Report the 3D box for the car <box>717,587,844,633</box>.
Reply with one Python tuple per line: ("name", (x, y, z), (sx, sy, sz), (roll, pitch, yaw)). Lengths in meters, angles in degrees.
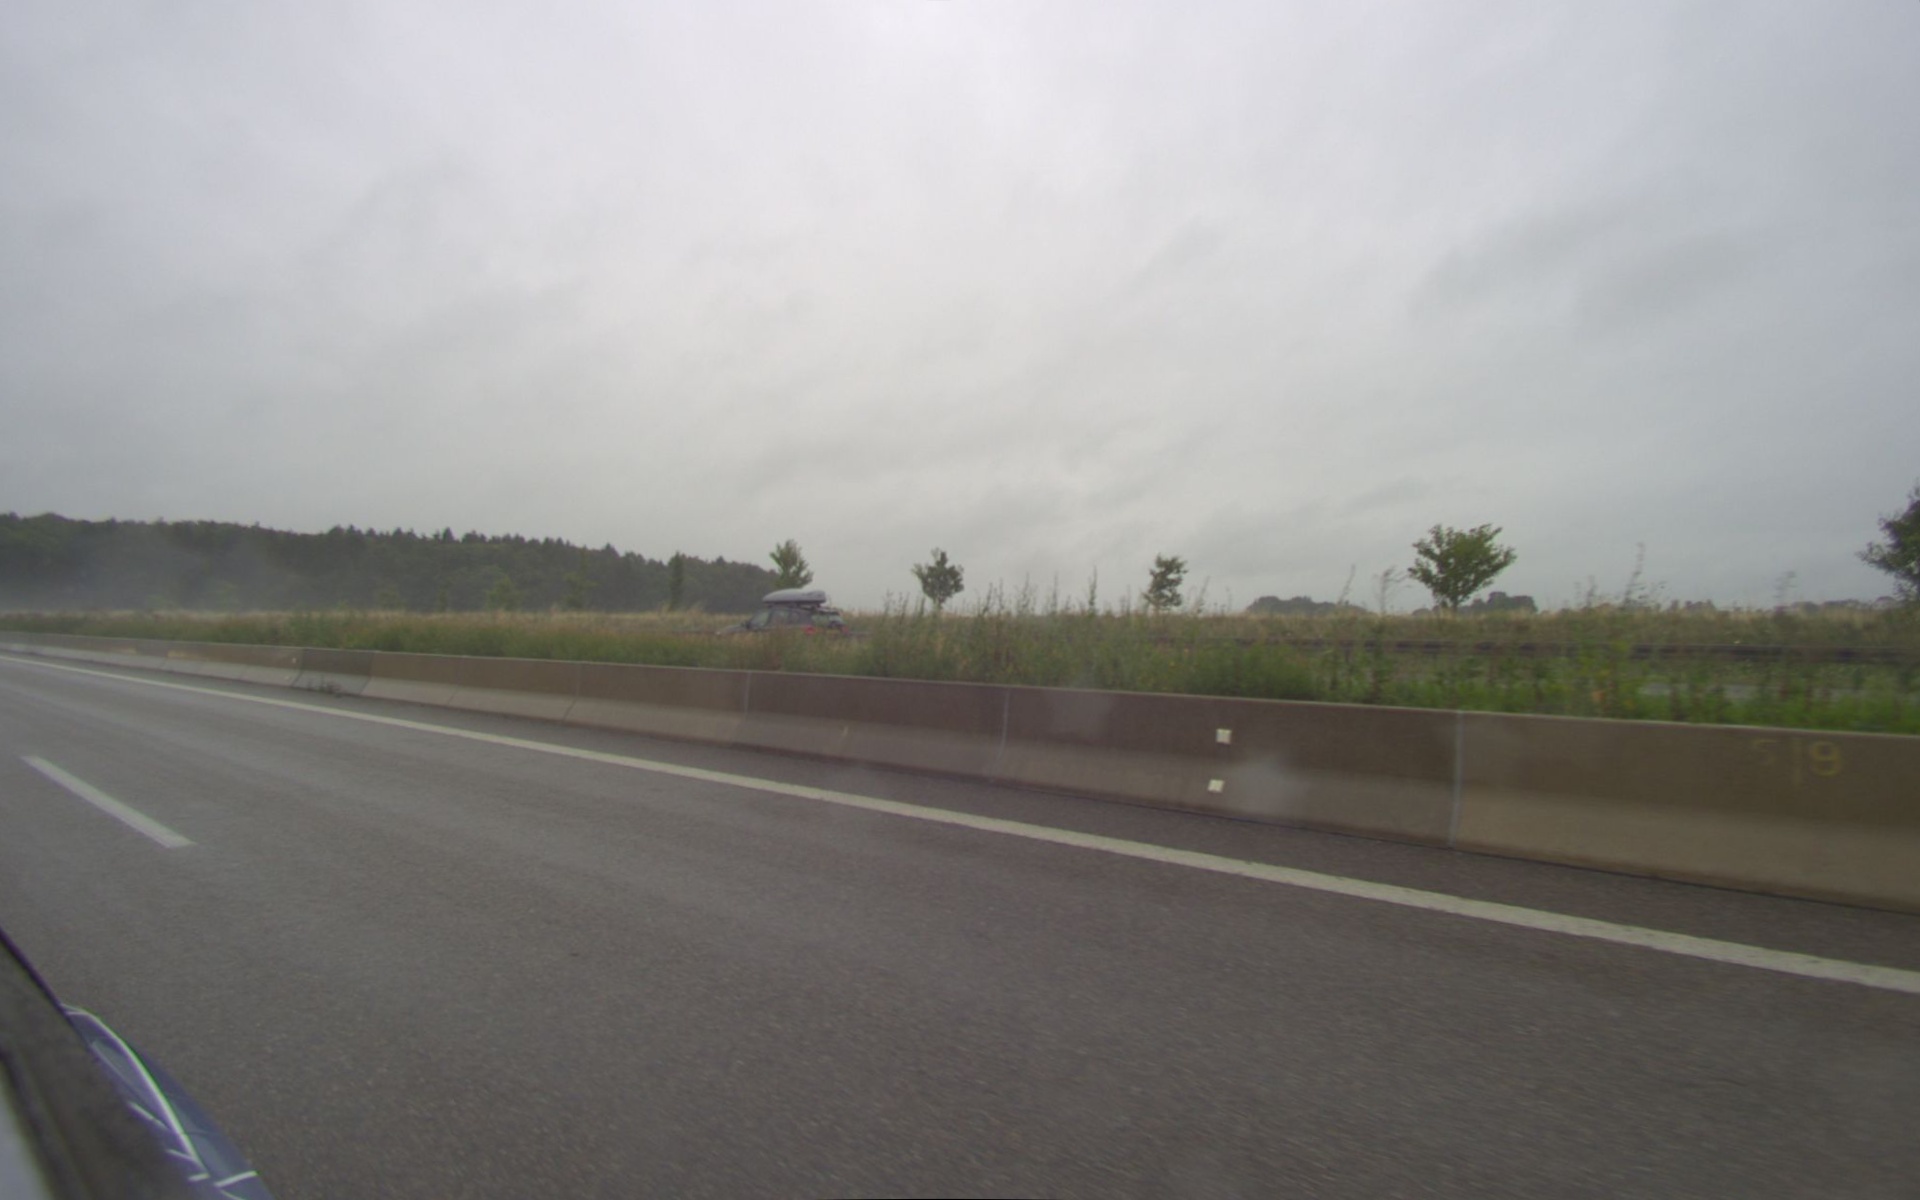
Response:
("car", (-5.283, 0.301, 29.503), (3.796, 1.266, 1.629), (-1, -1, 41))
